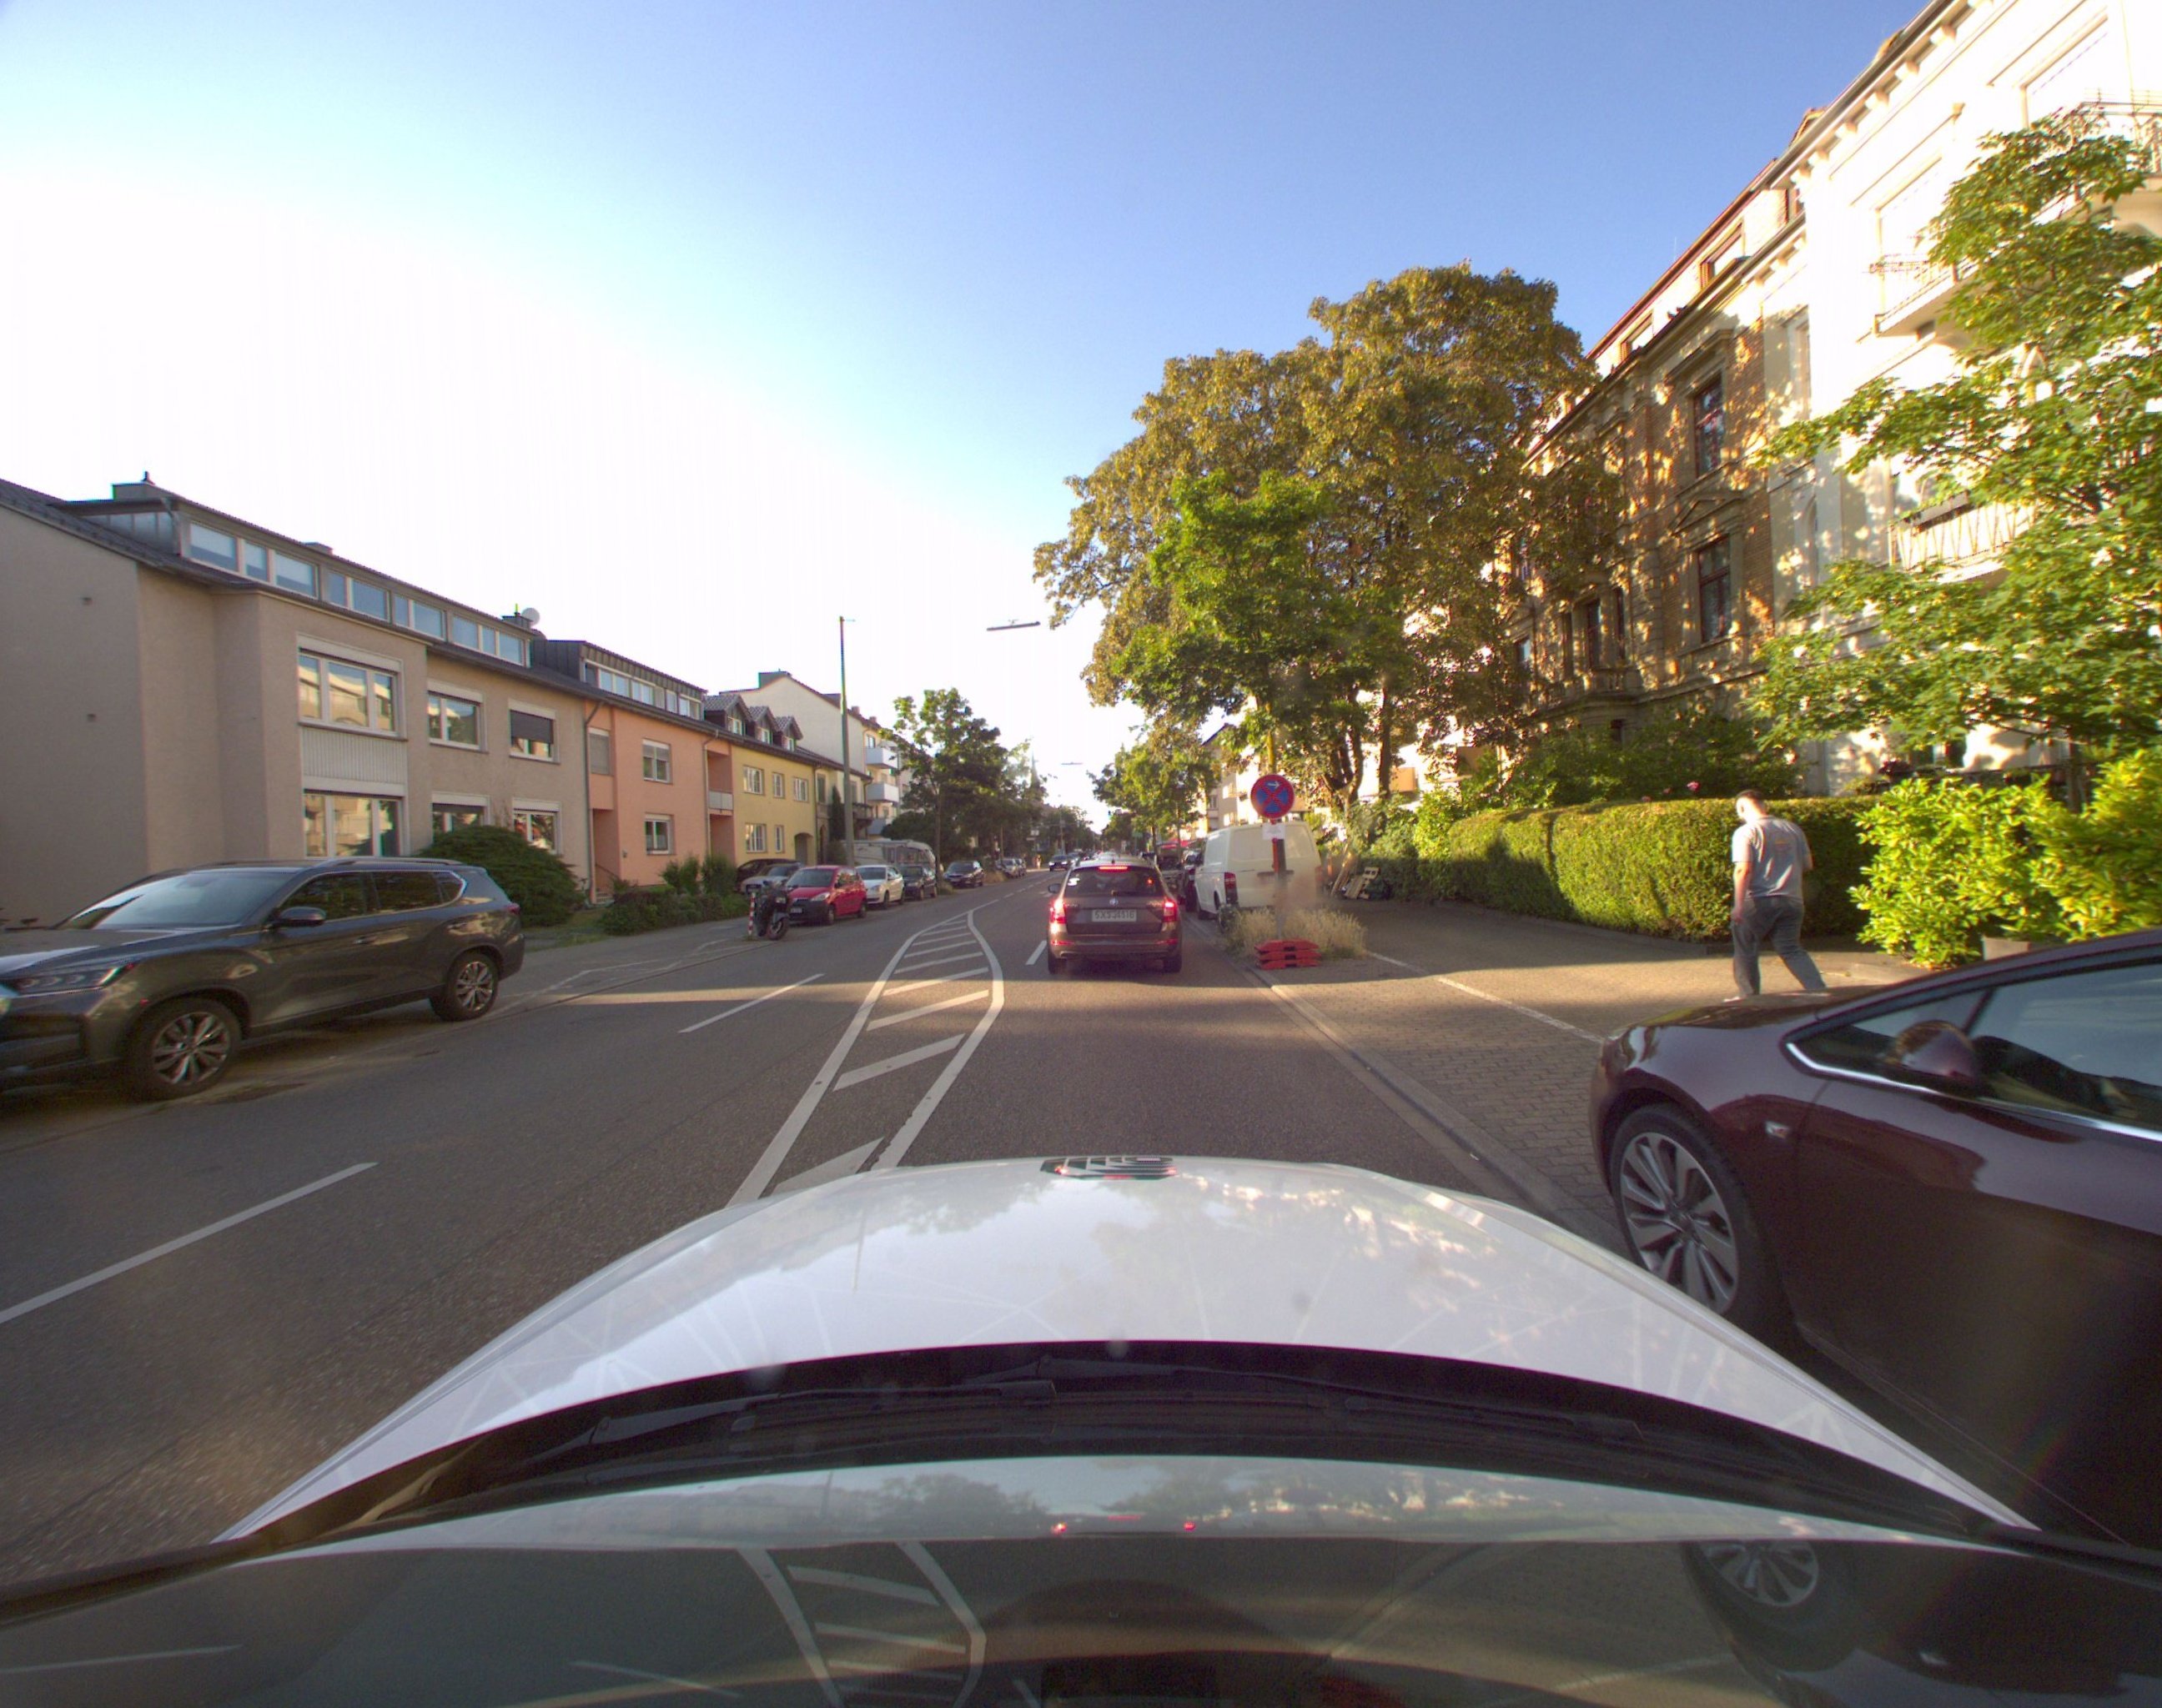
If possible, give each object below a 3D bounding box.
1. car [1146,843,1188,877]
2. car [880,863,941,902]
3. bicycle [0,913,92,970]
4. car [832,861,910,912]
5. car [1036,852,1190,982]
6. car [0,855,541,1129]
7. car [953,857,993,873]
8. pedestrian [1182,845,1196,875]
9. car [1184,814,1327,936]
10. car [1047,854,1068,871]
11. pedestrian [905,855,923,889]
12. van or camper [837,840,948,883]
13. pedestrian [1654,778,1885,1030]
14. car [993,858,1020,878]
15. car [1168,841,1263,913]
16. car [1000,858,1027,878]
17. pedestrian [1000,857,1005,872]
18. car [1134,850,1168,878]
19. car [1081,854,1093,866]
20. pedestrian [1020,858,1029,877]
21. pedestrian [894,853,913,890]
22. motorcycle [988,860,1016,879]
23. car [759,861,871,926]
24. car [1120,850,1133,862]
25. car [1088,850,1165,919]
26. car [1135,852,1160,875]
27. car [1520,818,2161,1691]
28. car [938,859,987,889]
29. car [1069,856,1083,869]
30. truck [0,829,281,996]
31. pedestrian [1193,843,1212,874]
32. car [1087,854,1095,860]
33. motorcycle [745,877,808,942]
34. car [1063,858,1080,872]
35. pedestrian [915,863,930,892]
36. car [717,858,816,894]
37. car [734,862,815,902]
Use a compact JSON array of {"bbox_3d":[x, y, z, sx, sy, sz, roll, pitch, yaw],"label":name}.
[{"bbox_3d":[4.227,0.282,40.586,1.702,1.480,4.270,-4,0,1],"label":"car"},{"bbox_3d":[-6.816,1.114,32.844,1.537,1.396,3.667,-2,0,2],"label":"car"},{"bbox_3d":[-19.925,1.682,15.461,1.587,0.930,0.590,-5,0,4],"label":"bicycle"},{"bbox_3d":[-7.144,1.059,28.078,1.587,1.523,3.891,-2,0,1],"label":"car"},{"bbox_3d":[0.429,0.735,11.646,1.766,1.489,4.312,-1,0,1],"label":"car"},{"bbox_3d":[-7.658,0.930,7.683,1.881,1.779,4.726,-2,0,1],"label":"car"},{"bbox_3d":[-13.480,1.341,102.112,4.617,1.812,1.862,-2,0,1],"label":"car"},{"bbox_3d":[6.549,0.355,49.320,0.660,1.749,0.772,-4,-1,1],"label":"pedestrian"},{"bbox_3d":[3.384,0.371,16.744,1.897,2.103,4.640,-2,0,0],"label":"car"},{"bbox_3d":[-2.354,0.819,83.217,1.829,1.570,4.001,-4,-1,1],"label":"car"},{"bbox_3d":[-8.959,0.974,43.671,0.710,1.792,0.572,-2,0,4],"label":"pedestrian"},{"bbox_3d":[-12.422,0.504,54.098,6.774,2.773,2.352,0,0,0],"label":"van or camper"},{"bbox_3d":[5.318,0.354,6.380,0.818,1.774,1.088,-2,0,-2],"label":"pedestrian"},{"bbox_3d":[-5.613,1.059,61.558,1.587,1.470,3.805,0,0,2],"label":"car"},{"bbox_3d":[3.501,0.562,21.954,1.849,1.603,4.312,-5,0,1],"label":"car"},{"bbox_3d":[-5.449,1.093,66.186,1.642,1.517,4.076,-1,0,2],"label":"car"},{"bbox_3d":[-9.952,1.297,102.788,0.447,1.797,0.504,-3,0,2],"label":"pedestrian"},{"bbox_3d":[4.505,0.628,52.871,1.849,1.581,4.015,-4,0,1],"label":"car"},{"bbox_3d":[1.106,1.101,150.158,1.986,1.908,4.965,-4,0,1],"label":"car"},{"bbox_3d":[-6.008,1.419,87.171,0.777,1.987,0.821,-3,0,2],"label":"pedestrian"},{"bbox_3d":[-8.775,0.865,40.259,0.710,1.792,0.506,-2,0,4],"label":"pedestrian"},{"bbox_3d":[-5.615,1.125,57.846,2.028,1.265,0.772,-3,0,40],"label":"motorcycle"},{"bbox_3d":[-7.046,1.008,21.910,1.585,1.523,3.440,-2,0,4],"label":"car"},{"bbox_3d":[7.145,0.274,127.954,1.984,1.772,4.005,0,0,5],"label":"car"},{"bbox_3d":[1.129,0.701,20.550,1.730,1.571,4.003,0,0,3],"label":"car"},{"bbox_3d":[4.769,0.652,58.556,1.696,1.450,4.018,-4,0,4],"label":"car"},{"bbox_3d":[2.657,0.655,1.006,1.751,1.420,4.616,-4,0,1],"label":"car"},{"bbox_3d":[-6.474,1.069,44.833,1.860,1.494,4.519,-1,0,2],"label":"car"},{"bbox_3d":[-0.725,1.222,119.136,1.799,1.804,4.747,-4,0,1],"label":"car"},{"bbox_3d":[-16.436,0.883,12.087,6.869,2.185,2.277,-2,0,1],"label":"truck"},{"bbox_3d":[6.655,0.263,44.571,0.748,1.640,0.700,-3,0,38],"label":"pedestrian"},{"bbox_3d":[2.590,0.819,211.778,1.823,1.579,4.002,-3,0,2],"label":"car"},{"bbox_3d":[-6.786,1.186,18.089,1.184,1.266,2.352,-2,0,-22],"label":"motorcycle"},{"bbox_3d":[-1.168,1.365,101.472,1.754,1.452,4.536,-4,0,2],"label":"car"},{"bbox_3d":[-8.320,1.225,42.664,0.587,1.496,0.543,-2,0,4],"label":"pedestrian"},{"bbox_3d":[-14.971,1.031,38.922,3.971,1.636,1.867,0,0,2],"label":"car"},{"bbox_3d":[-12.591,1.112,33.690,1.658,1.409,3.756,-3,0,3],"label":"car"}]
